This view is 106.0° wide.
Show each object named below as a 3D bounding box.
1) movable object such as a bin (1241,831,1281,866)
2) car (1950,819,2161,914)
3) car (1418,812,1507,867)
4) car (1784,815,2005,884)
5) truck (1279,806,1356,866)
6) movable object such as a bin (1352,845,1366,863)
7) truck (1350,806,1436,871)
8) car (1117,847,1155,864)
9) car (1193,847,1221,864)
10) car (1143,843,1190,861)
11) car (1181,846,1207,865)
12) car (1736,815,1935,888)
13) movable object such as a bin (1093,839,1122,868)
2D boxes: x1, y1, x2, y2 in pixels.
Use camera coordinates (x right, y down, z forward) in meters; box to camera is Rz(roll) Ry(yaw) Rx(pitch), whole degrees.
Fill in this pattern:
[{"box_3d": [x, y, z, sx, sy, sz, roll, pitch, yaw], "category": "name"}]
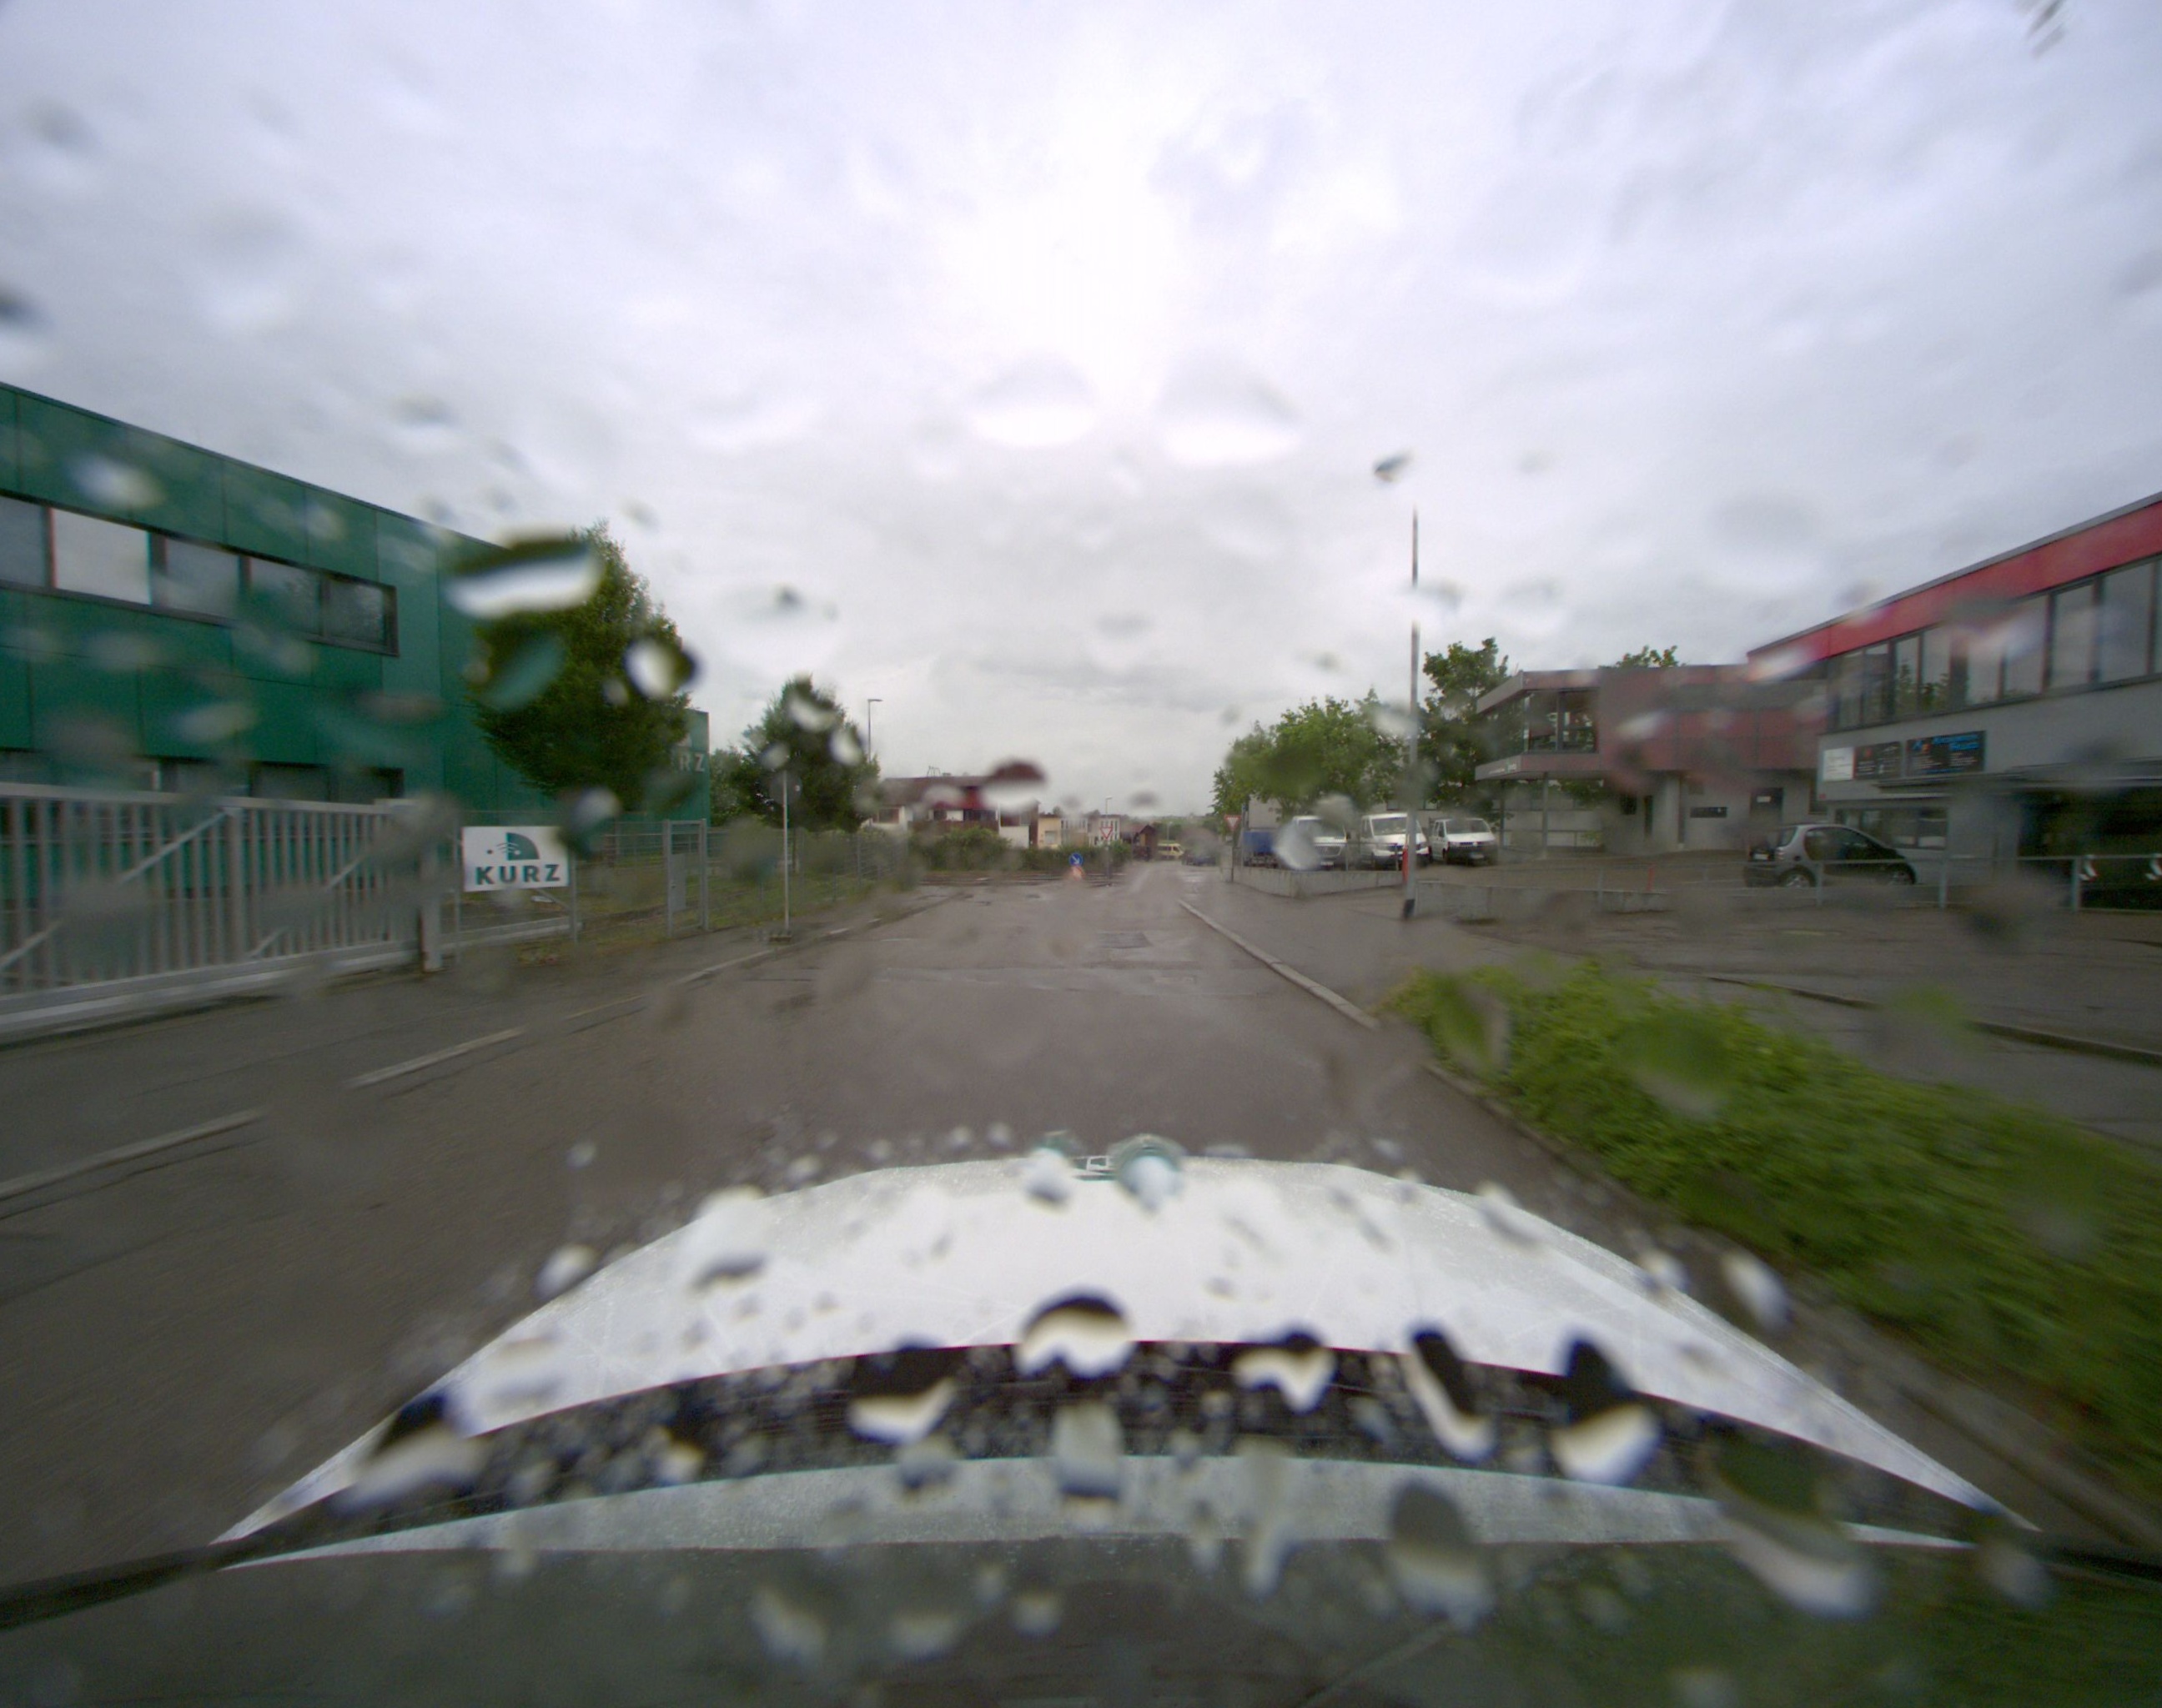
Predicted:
[{"box_3d": [7.938, -0.235, 36.065, 1.303, 1.500, 1.857, -1, 0, -2], "category": "movable object such as a bin"}, {"box_3d": [17.175, 0.189, 13.756, 3.014, 1.495, 1.635, -1, 0, 12], "category": "car"}, {"box_3d": [15.310, -0.534, 32.974, 2.043, 2.014, 4.953, -1, 0, 10], "category": "car"}, {"box_3d": [22.399, -0.172, 22.606, 3.895, 1.738, 1.867, 1, 2, 16], "category": "car"}, {"box_3d": [9.567, -0.656, 33.391, 2.094, 2.214, 5.663, -1, 0, 6], "category": "truck"}, {"box_3d": [12.866, -0.011, 37.698, 0.561, 0.817, 0.541, -1, -1, 11], "category": "movable object such as a bin"}, {"box_3d": [12.387, -0.581, 32.695, 2.229, 2.342, 4.849, -2, -1, 9], "category": "truck"}, {"box_3d": [6.620, 0.202, 97.893, 2.011, 1.905, 4.356, 0, -1, -43], "category": "car"}, {"box_3d": [12.296, 0.194, 79.704, 1.946, 1.610, 4.444, -1, 0, -1], "category": "car"}, {"box_3d": [12.090, -0.286, 115.178, 5.954, 2.415, 2.477, -1, 0, 24], "category": "car"}, {"box_3d": [11.891, 0.165, 85.881, 2.067, 1.835, 4.470, -1, 0, 0], "category": "car"}, {"box_3d": [16.379, -0.037, 17.832, 2.692, 1.446, 1.684, -1, -1, 14], "category": "car"}, {"box_3d": [2.466, -0.057, 74.693, 1.719, 2.556, 3.355, -1, 0, 19], "category": "movable object such as a bin"}]
